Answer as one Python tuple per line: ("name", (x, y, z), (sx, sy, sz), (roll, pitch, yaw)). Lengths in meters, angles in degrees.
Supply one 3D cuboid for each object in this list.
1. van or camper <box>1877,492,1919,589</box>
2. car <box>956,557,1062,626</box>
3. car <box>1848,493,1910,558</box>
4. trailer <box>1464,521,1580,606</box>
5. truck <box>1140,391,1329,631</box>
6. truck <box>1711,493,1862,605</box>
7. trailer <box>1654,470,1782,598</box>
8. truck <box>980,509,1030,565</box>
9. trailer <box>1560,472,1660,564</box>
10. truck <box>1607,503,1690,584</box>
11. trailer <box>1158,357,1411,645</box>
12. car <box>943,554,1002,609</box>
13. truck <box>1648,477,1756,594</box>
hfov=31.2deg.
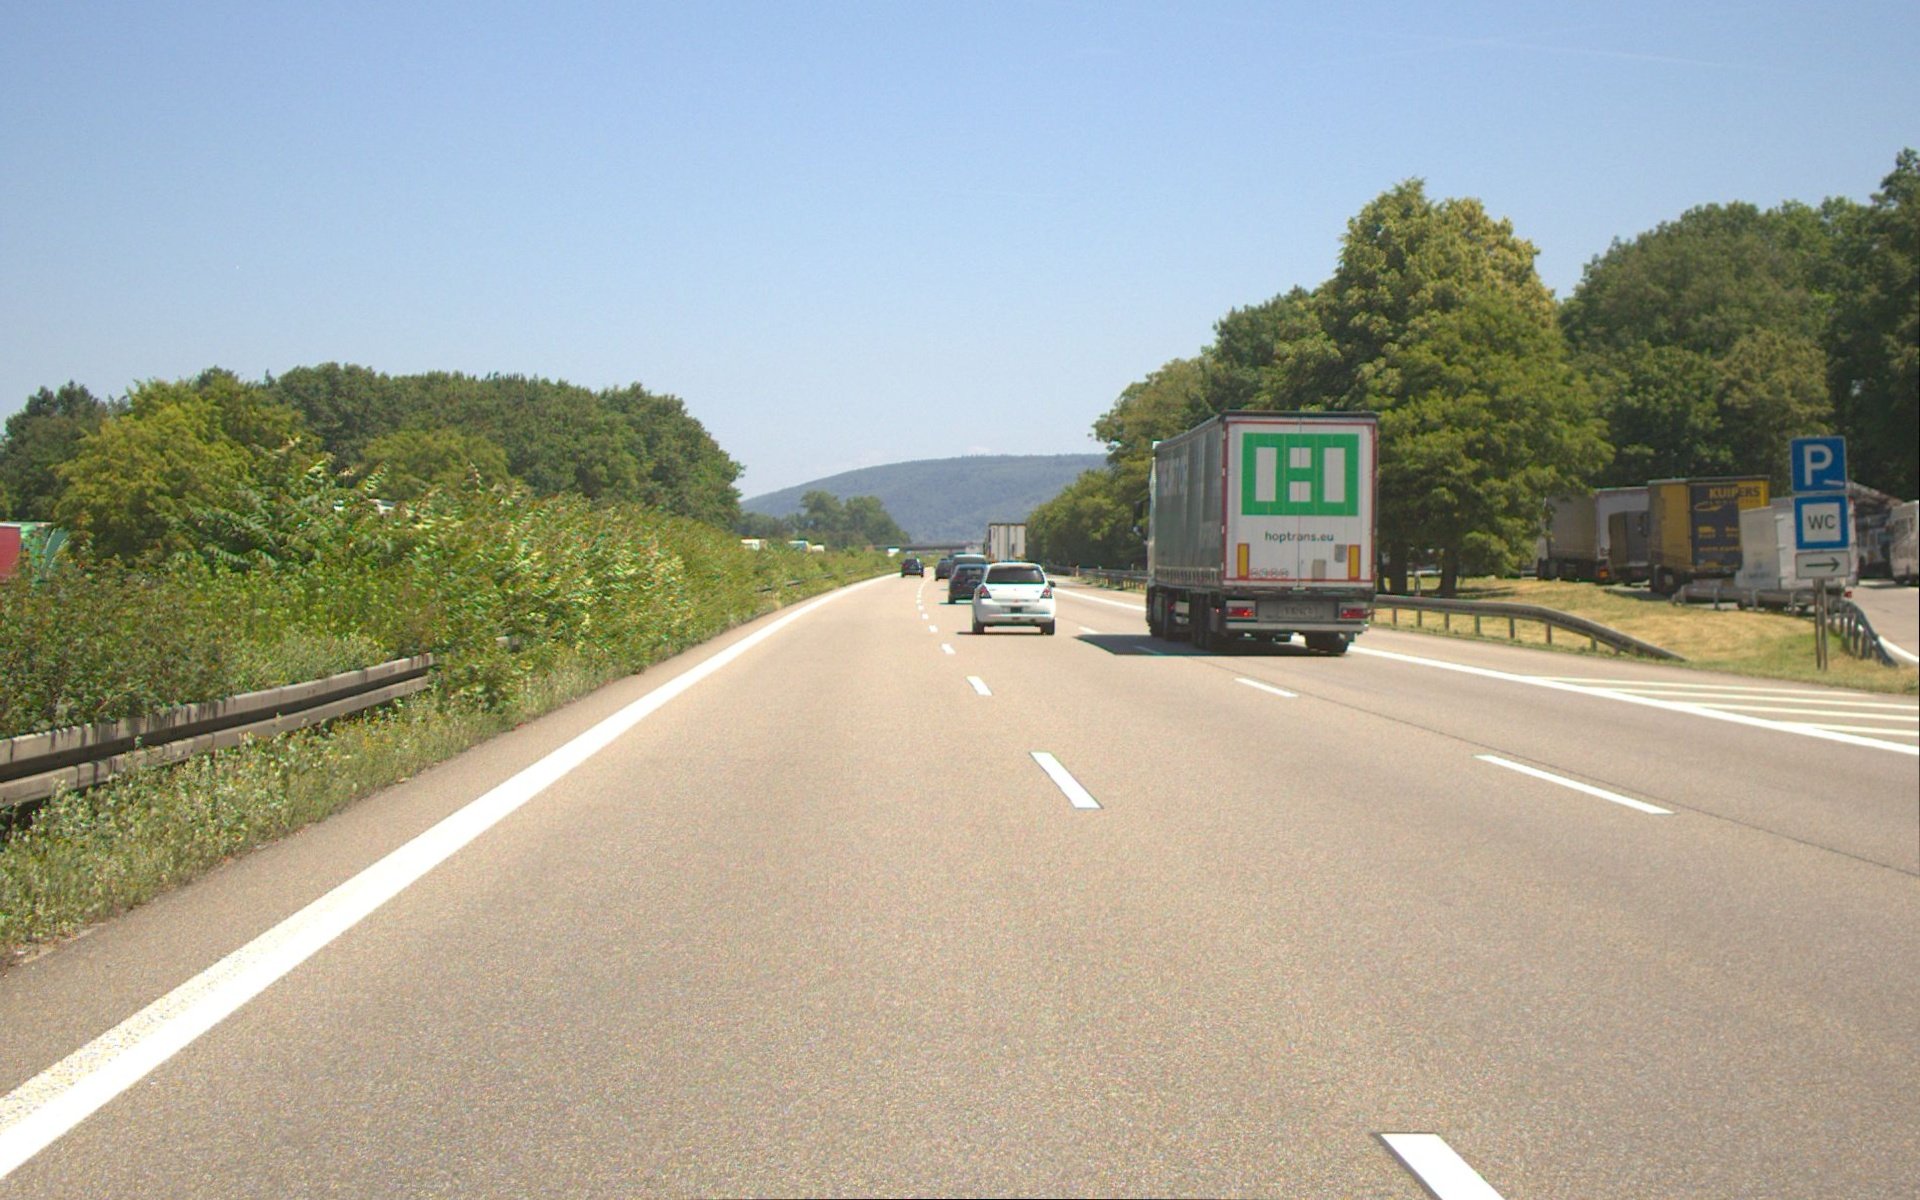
("van or camper", (33.444, -2.033, 117.843), (2.999, 3.224, 6.998), (0, 1, 8))
("car", (1.019, -0.204, 72.994), (1.811, 1.400, 3.318), (0, 1, -7))
("car", (35.331, -2.869, 132.304), (1.994, 2.431, 4.777), (-1, 1, 12))
("trailer", (27.604, -1.818, 169.649), (3.135, 3.939, 14.197), (-1, 1, -1))
("truck", (5.444, -1.757, 69.168), (3.182, 4.591, 5.948), (-1, 1, -1))
("truck", (22.554, -1.388, 94.132), (2.468, 2.936, 7.659), (0, 1, 2))
("trailer", (24.537, -2.107, 111.805), (3.185, 3.921, 11.547), (0, 1, 8))
("truck", (3.097, -4.375, 240.756), (3.325, 3.744, 12.796), (1, 1, 0))
("trailer", (28.047, -3.481, 148.852), (3.103, 3.777, 13.360), (1, 1, 6))
("truck", (27.138, -2.228, 135.799), (2.468, 3.076, 6.616), (1, 1, 5))
("trailer", (5.558, -1.666, 61.231), (3.181, 4.611, 12.051), (0, 1, -1))
("car", (0.459, -0.671, 121.451), (1.897, 1.886, 4.000), (-1, 1, 2))
("truck", (25.605, -2.217, 118.890), (3.185, 3.921, 6.615), (0, 1, 8))
